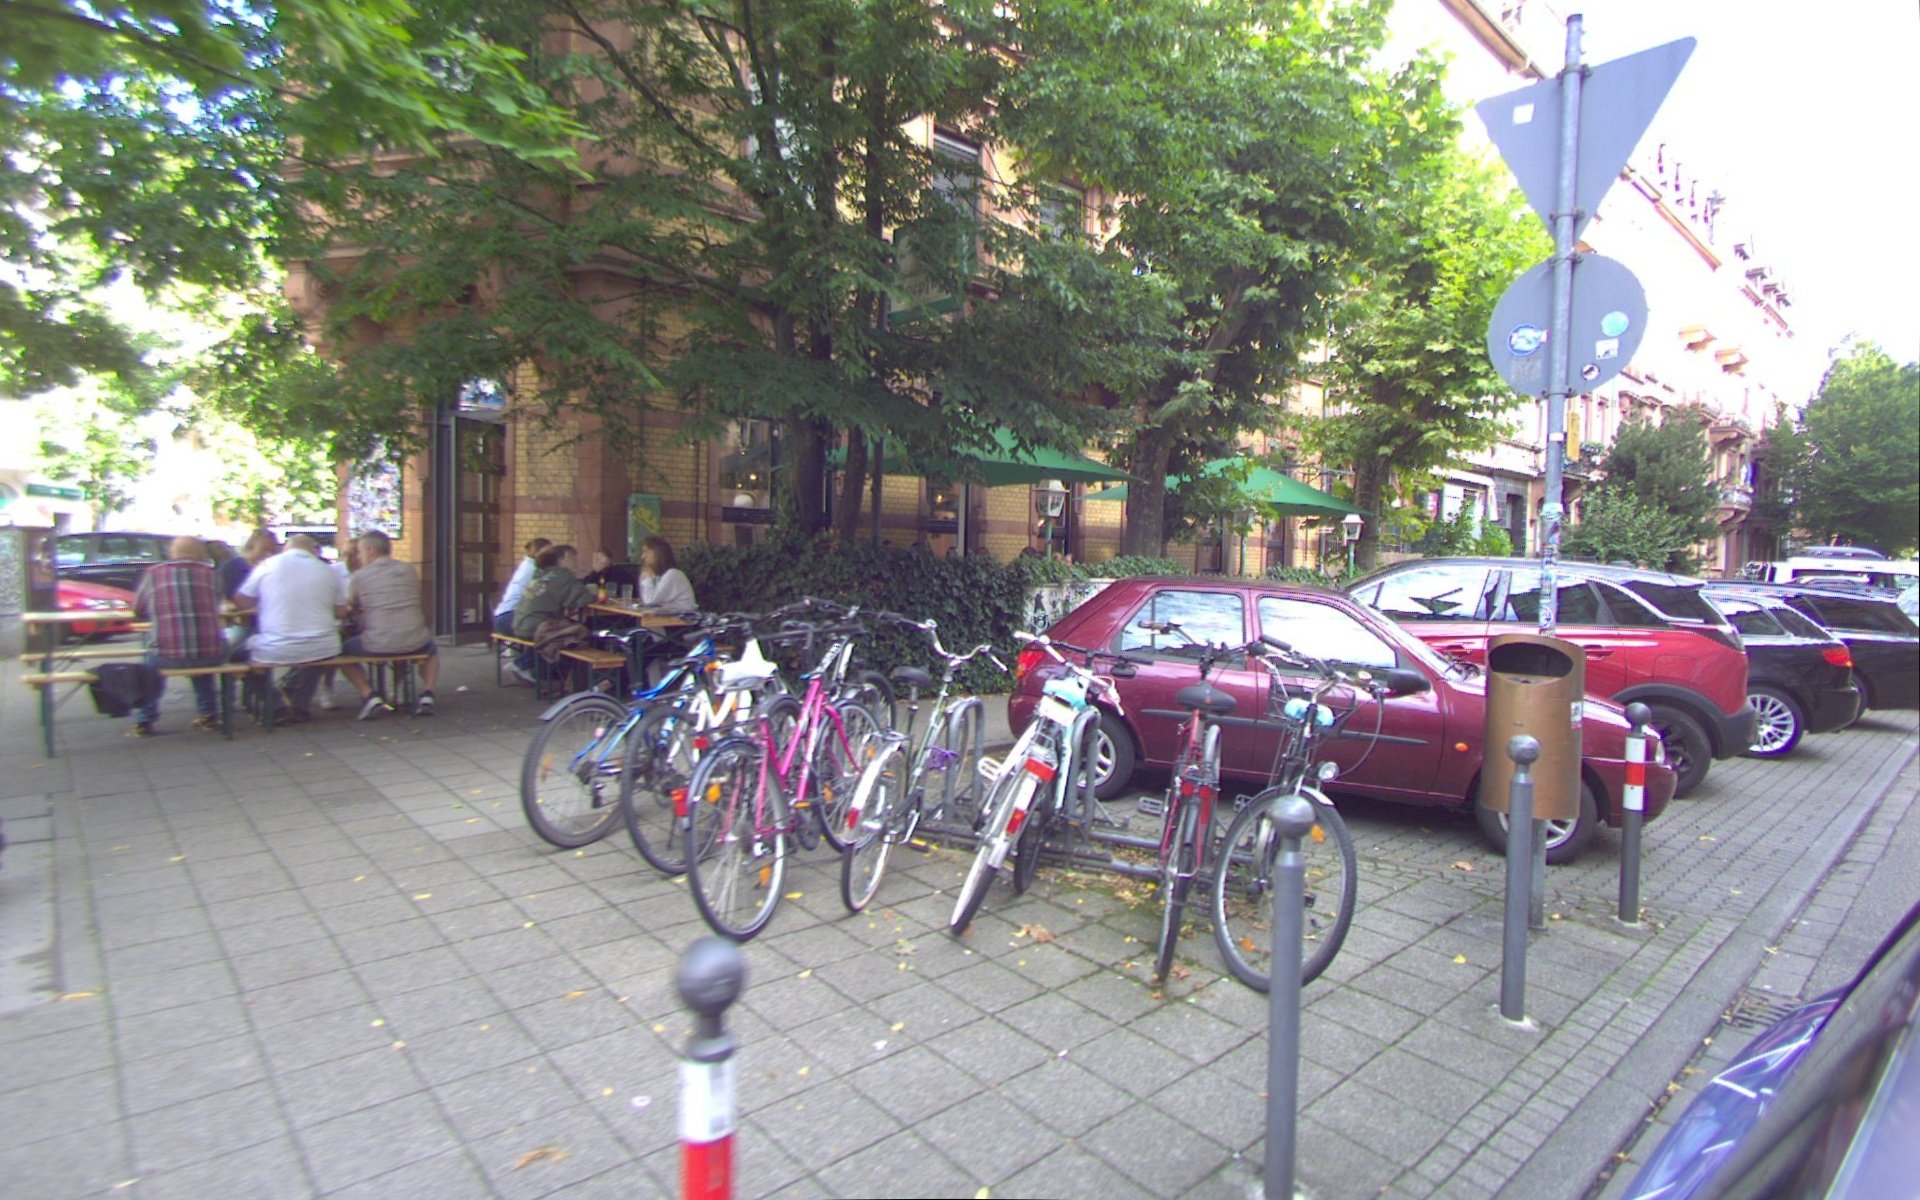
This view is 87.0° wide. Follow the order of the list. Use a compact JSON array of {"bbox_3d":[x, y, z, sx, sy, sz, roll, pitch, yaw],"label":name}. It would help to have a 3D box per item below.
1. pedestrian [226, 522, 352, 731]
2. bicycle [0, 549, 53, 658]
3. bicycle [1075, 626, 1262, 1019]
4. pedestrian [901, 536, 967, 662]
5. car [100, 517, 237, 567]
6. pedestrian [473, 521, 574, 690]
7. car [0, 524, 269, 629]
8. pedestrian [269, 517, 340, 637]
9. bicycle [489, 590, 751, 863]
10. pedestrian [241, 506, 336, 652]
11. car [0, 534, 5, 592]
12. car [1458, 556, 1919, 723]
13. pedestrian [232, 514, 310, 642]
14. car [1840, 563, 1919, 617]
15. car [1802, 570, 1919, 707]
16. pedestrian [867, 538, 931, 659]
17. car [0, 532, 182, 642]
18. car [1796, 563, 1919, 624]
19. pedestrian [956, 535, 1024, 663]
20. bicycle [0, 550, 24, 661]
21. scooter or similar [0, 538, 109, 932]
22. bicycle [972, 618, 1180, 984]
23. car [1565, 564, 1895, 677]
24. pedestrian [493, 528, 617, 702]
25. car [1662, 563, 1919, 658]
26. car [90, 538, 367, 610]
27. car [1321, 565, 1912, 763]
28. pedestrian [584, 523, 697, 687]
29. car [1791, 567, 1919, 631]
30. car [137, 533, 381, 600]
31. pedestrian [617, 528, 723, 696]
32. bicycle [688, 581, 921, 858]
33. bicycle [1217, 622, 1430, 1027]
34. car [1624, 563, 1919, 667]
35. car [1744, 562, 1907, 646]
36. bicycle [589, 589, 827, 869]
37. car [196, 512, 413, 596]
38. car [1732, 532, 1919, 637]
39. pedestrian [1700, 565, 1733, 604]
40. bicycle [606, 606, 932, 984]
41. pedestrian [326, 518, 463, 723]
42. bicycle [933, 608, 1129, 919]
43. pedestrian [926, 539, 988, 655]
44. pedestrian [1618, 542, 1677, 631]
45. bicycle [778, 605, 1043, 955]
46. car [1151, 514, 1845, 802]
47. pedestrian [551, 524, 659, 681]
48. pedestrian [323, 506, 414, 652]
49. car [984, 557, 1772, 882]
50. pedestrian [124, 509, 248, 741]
[{"bbox_3d":[-4.668,0.154,7.036,0.757,1.359,0.587,3,2,44],"label":"pedestrian"},{"bbox_3d":[-10.872,0.022,10.781,1.812,1.148,0.428,1,3,-12],"label":"bicycle"},{"bbox_3d":[0.912,0.721,4.087,0.455,1.052,1.847,5,4,18],"label":"bicycle"},{"bbox_3d":[-0.337,-0.033,13.191,0.628,1.589,0.561,3,2,44],"label":"pedestrian"},{"bbox_3d":[-32.115,-2.289,41.159,1.989,1.859,4.063,0,1,38],"label":"car"},{"bbox_3d":[-3.848,0.029,8.929,0.572,1.424,0.628,3,2,41],"label":"pedestrian"},{"bbox_3d":[-13.961,-0.391,16.255,4.332,1.571,2.005,0,2,-19],"label":"car"},{"bbox_3d":[-8.963,-0.318,13.854,0.629,1.583,0.702,1,2,-15],"label":"pedestrian"},{"bbox_3d":[-1.530,0.502,4.779,0.445,1.053,1.378,2,2,17],"label":"bicycle"},{"bbox_3d":[-7.571,-0.241,11.437,0.594,1.583,0.691,1,2,7],"label":"pedestrian"},{"bbox_3d":[-28.537,-1.041,27.288,1.993,1.604,3.940,3,3,42],"label":"car"},{"bbox_3d":[8.542,0.371,11.690,4.711,1.474,2.043,4,2,20],"label":"car"},{"bbox_3d":[-8.793,-0.286,12.945,0.623,1.583,0.702,1,2,-15],"label":"pedestrian"},{"bbox_3d":[35.425,-0.322,37.050,4.344,1.844,1.747,3,4,17],"label":"car"},{"bbox_3d":[13.716,0.452,13.315,4.294,1.674,1.880,0,1,-14],"label":"car"},{"bbox_3d":[-0.830,-0.033,13.693,0.628,1.589,0.561,3,2,44],"label":"pedestrian"},{"bbox_3d":[-13.255,-0.212,13.664,3.915,1.404,2.005,1,2,-17],"label":"car"},{"bbox_3d":[31.267,-0.171,33.991,1.779,1.806,4.645,2,3,-43],"label":"car"},{"bbox_3d":[0.410,-0.027,13.799,0.646,1.661,0.555,6,5,44],"label":"pedestrian"},{"bbox_3d":[-10.787,0.061,10.280,1.812,1.144,0.569,0,2,-12],"label":"bicycle"},{"bbox_3d":[-3.468,0.437,3.282,0.651,1.290,1.252,1,2,-18],"label":"scooter or similar"},{"bbox_3d":[0.580,0.679,4.306,0.344,1.052,2.005,5,4,20],"label":"bicycle"},{"bbox_3d":[11.990,0.255,16.016,3.660,1.503,1.737,3,2,10],"label":"car"},{"bbox_3d":[-3.397,0.103,8.490,0.672,1.375,0.746,3,2,44],"label":"pedestrian"},{"bbox_3d":[16.502,0.183,19.491,4.396,1.495,1.885,4,2,9],"label":"car"},{"bbox_3d":[-15.210,-0.550,21.361,4.332,1.388,2.005,0,2,-19],"label":"car"},{"bbox_3d":[5.882,0.449,9.787,4.367,1.475,1.927,2,2,24],"label":"car"},{"bbox_3d":[-2.928,0.026,9.275,0.672,1.424,0.746,3,2,44],"label":"pedestrian"},{"bbox_3d":[26.885,-0.027,28.896,4.391,1.754,1.992,1,1,14],"label":"car"},{"bbox_3d":[-16.271,-0.767,23.772,4.332,1.433,2.005,0,2,-19],"label":"car"},{"bbox_3d":[-2.498,0.083,8.711,0.669,1.368,0.619,3,2,44],"label":"pedestrian"},{"bbox_3d":[-0.703,0.489,5.144,0.350,1.086,1.788,5,4,18],"label":"bicycle"},{"bbox_3d":[1.403,0.704,4.014,0.542,1.052,1.847,5,4,18],"label":"bicycle"},{"bbox_3d":[14.430,0.222,17.527,4.403,1.482,1.872,4,2,14],"label":"car"},{"bbox_3d":[20.046,0.053,23.548,2.441,1.686,1.337,5,3,22],"label":"car"},{"bbox_3d":[-1.128,0.515,4.807,0.332,1.052,1.448,5,4,18],"label":"bicycle"},{"bbox_3d":[-16.727,-1.158,26.081,4.332,1.973,2.005,0,2,-19],"label":"car"},{"bbox_3d":[22.684,-0.399,25.151,5.087,2.434,1.910,2,2,15],"label":"car"},{"bbox_3d":[30.043,-0.629,40.196,0.927,1.515,0.800,4,3,41],"label":"pedestrian"},{"bbox_3d":[-0.647,0.620,4.126,0.385,1.052,1.910,5,4,18],"label":"bicycle"},{"bbox_3d":[-4.211,0.121,7.530,0.797,1.424,0.691,3,2,44],"label":"pedestrian"},{"bbox_3d":[0.407,0.630,4.745,0.344,1.052,1.845,5,4,20],"label":"bicycle"},{"bbox_3d":[-0.042,-0.051,14.277,0.628,1.589,0.561,3,2,44],"label":"pedestrian"},{"bbox_3d":[15.045,-0.303,22.147,0.709,1.901,0.842,0,2,-38],"label":"pedestrian"},{"bbox_3d":[-0.110,0.620,4.387,0.439,1.052,1.895,5,4,18],"label":"bicycle"},{"bbox_3d":[3.887,0.275,8.086,4.306,1.664,1.808,4,3,22],"label":"car"},{"bbox_3d":[-3.407,0.004,9.715,0.672,1.424,0.746,3,2,44],"label":"pedestrian"},{"bbox_3d":[-6.677,-0.243,11.445,0.612,1.583,0.670,1,2,5],"label":"pedestrian"},{"bbox_3d":[2.271,0.511,6.285,3.895,1.475,1.758,2,2,20],"label":"car"},{"bbox_3d":[-5.049,0.135,6.600,0.757,1.409,0.540,3,2,44],"label":"pedestrian"}]
